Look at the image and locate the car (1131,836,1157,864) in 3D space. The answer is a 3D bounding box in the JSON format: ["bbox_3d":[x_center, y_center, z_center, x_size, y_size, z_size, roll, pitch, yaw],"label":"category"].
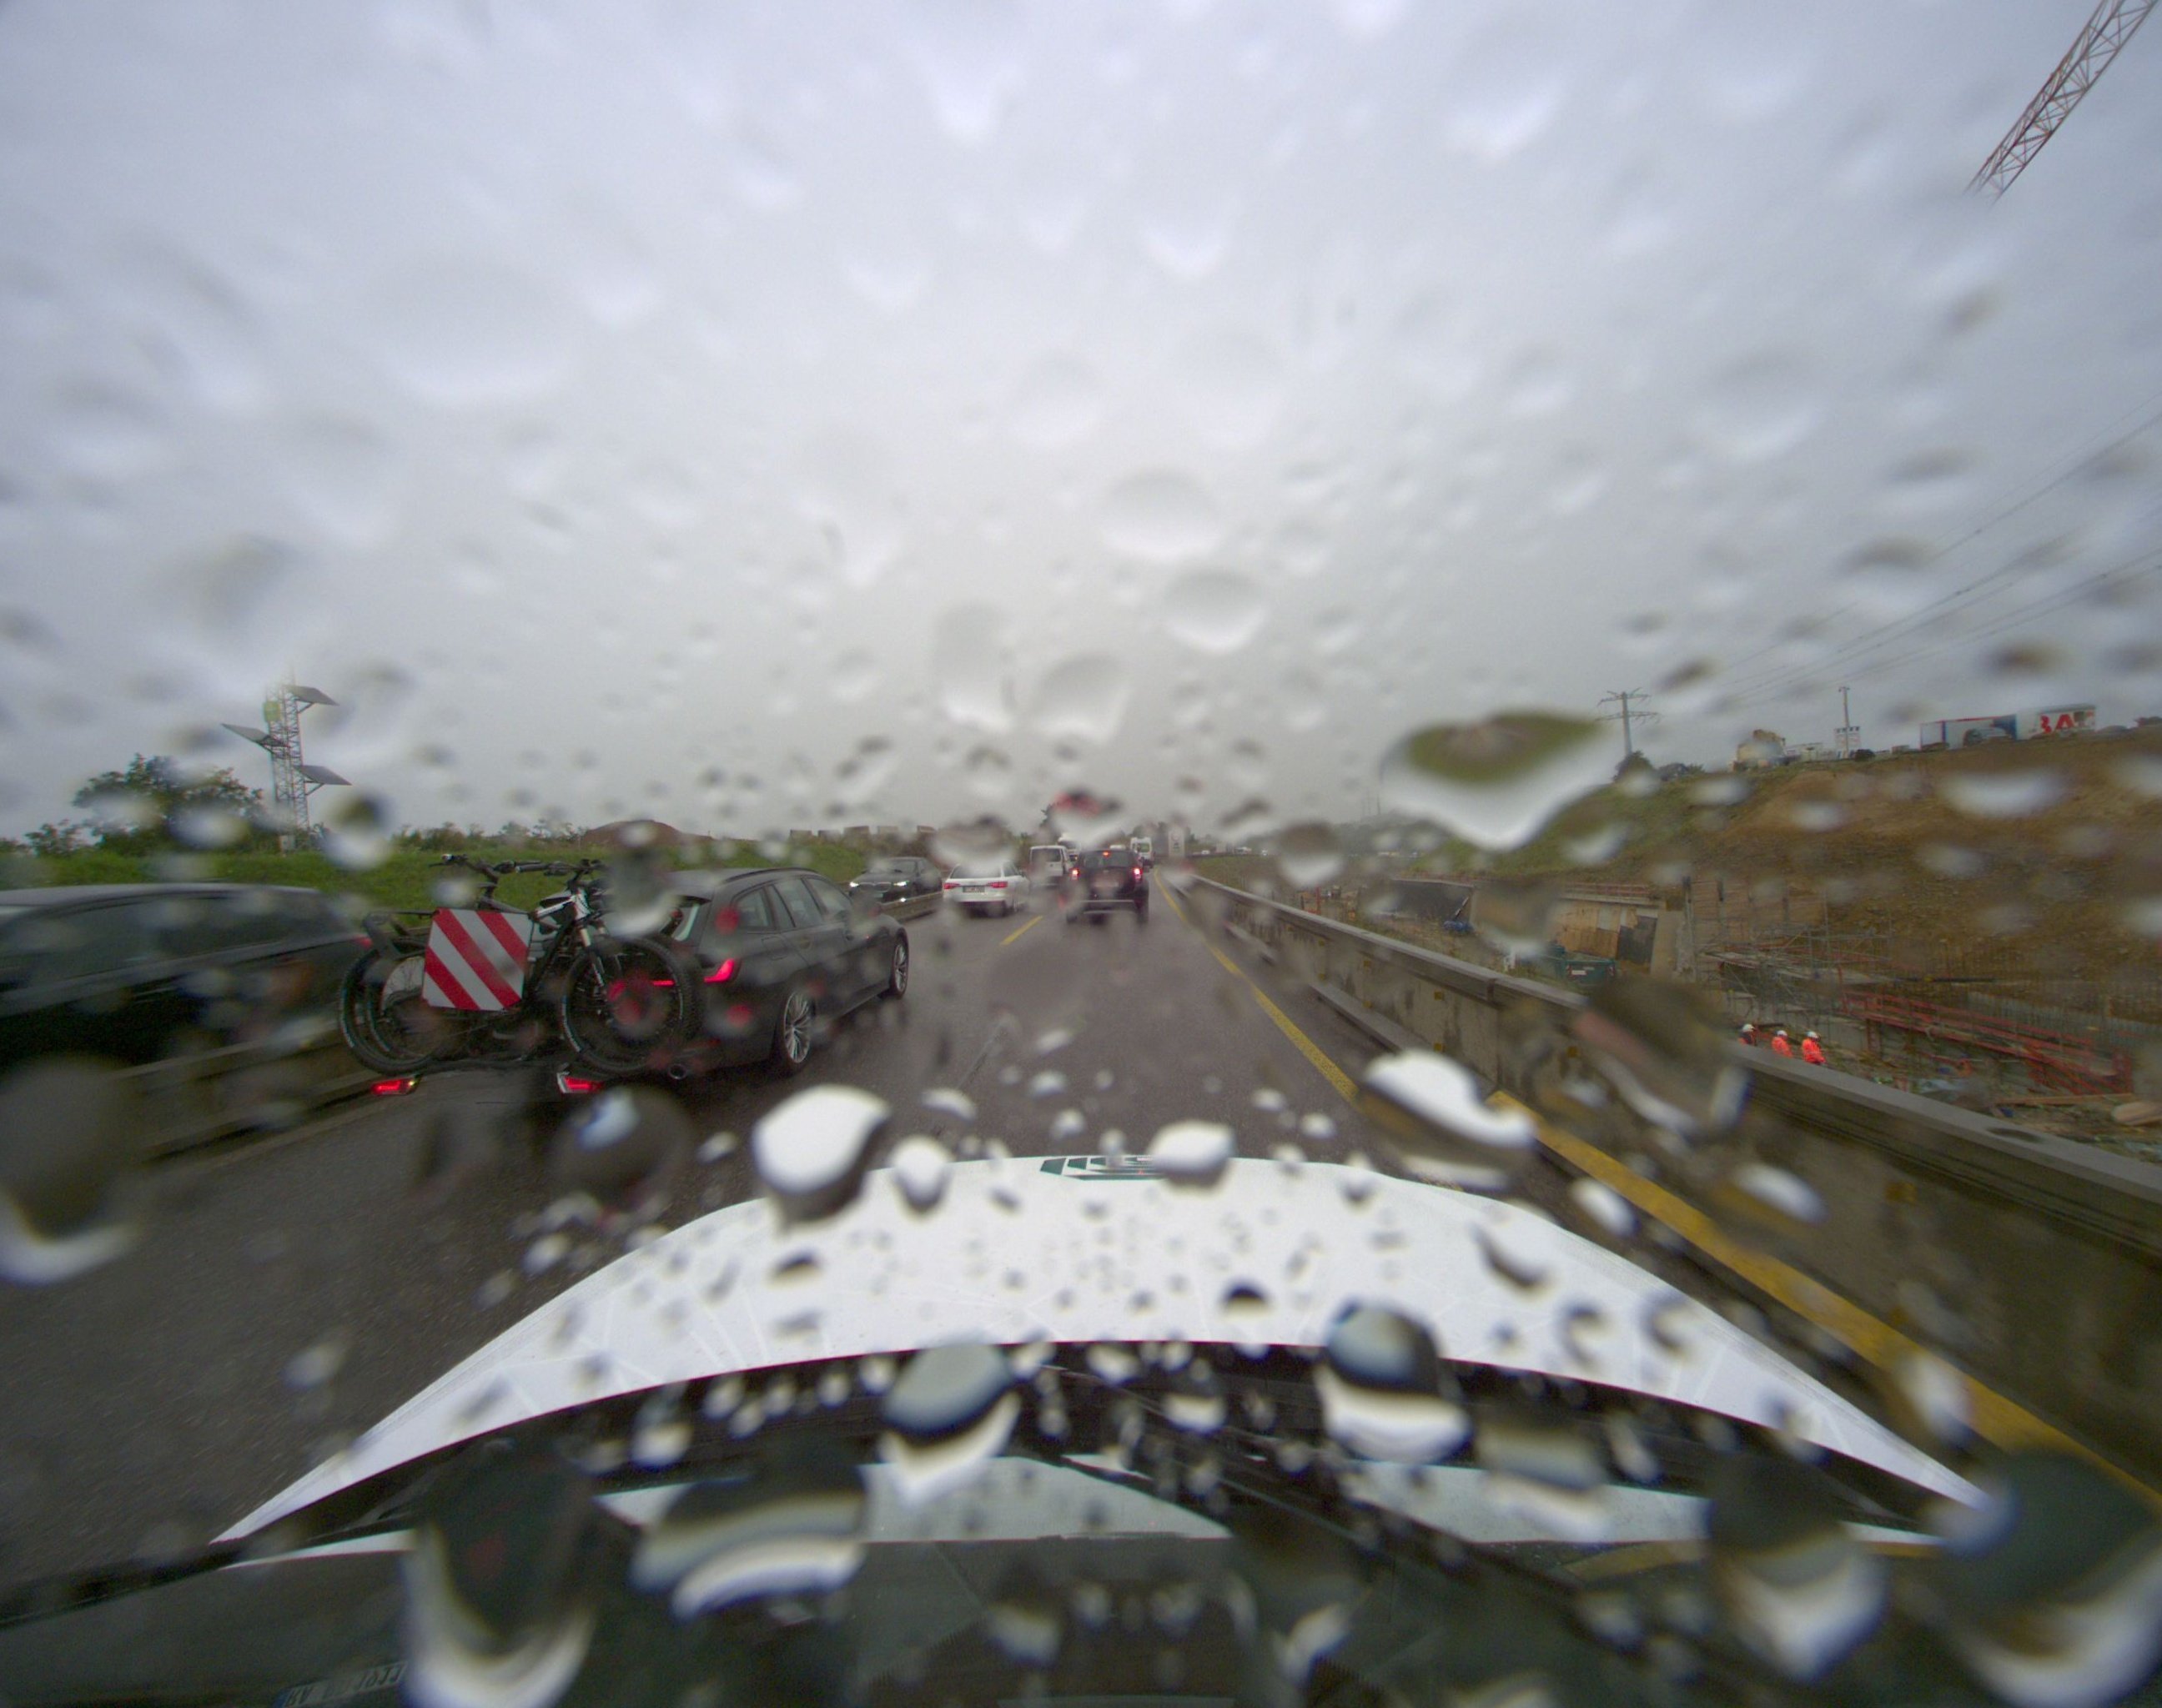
[{"bbox_3d":[5.777,-0.343,74.269,1.815,2.437,4.170,-1,-1,11],"label":"car"}]

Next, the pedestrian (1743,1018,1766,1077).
[{"bbox_3d":[24.115,6.912,29.164,0.568,1.869,0.740,-1,-1,39],"label":"pedestrian"}]

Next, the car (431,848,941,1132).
[{"bbox_3d":[-2.711,0.752,7.412,1.728,1.462,5.632,-1,2,2],"label":"car"}]

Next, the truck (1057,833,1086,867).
[{"bbox_3d":[-1.081,-0.504,98.277,2.774,4.034,5.830,-1,1,6],"label":"truck"}]

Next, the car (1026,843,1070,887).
[{"bbox_3d":[-1.421,0.486,36.271,1.821,1.815,3.998,-1,-1,-1],"label":"car"}]

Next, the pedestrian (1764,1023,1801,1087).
[{"bbox_3d":[23.814,6.802,27.646,0.576,1.944,0.729,0,-1,-25],"label":"pedestrian"}]

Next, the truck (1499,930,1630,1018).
[{"bbox_3d":[25.783,6.255,44.054,2.714,3.491,9.084,-1,-1,8],"label":"truck"}]

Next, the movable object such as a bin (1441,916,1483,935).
[{"bbox_3d":[42.918,8.062,91.826,2.007,2.014,3.801,3,-4,-33],"label":"movable object such as a bin"}]

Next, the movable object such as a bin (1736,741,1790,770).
[{"bbox_3d":[66.733,-9.592,79.749,2.413,2.443,3.981,-1,1,11],"label":"movable object such as a bin"}]

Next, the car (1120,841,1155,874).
[{"bbox_3d":[3.310,0.223,47.071,1.817,1.815,4.007,-1,-1,6],"label":"car"}]

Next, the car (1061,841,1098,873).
[{"bbox_3d":[-0.052,0.206,48.856,1.818,1.815,4.005,-1,-1,5],"label":"car"}]

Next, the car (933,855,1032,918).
[{"bbox_3d":[-2.477,0.801,21.513,1.818,1.499,4.005,-1,-1,5],"label":"car"}]

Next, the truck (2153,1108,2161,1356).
[{"bbox_3d":[16.126,5.318,7.011,2.685,3.503,8.964,-1,-1,7],"label":"truck"}]

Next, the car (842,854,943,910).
[{"bbox_3d":[-5.870,0.821,26.000,1.911,1.585,4.898,-1,0,2],"label":"car"}]

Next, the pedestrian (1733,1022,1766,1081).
[{"bbox_3d":[23.401,6.913,28.535,0.570,1.869,0.737,-1,-1,9],"label":"pedestrian"}]

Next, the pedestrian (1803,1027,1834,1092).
[{"bbox_3d":[24.457,6.789,27.011,0.726,1.944,0.579,-1,-1,41],"label":"pedestrian"}]

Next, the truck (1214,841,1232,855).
[{"bbox_3d":[38.548,-1.609,220.672,3.443,3.715,8.459,-2,0,19],"label":"truck"}]

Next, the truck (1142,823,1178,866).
[{"bbox_3d":[10.023,-1.089,102.749,3.521,5.077,10.472,-1,-1,11],"label":"truck"}]

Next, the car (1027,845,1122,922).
[{"bbox_3d":[-0.033,0.631,18.806,1.818,1.591,4.005,-1,-1,5],"label":"car"}]

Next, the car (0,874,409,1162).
[{"bbox_3d":[-6.597,0.921,5.041,1.659,1.466,3.734,-1,0,2],"label":"car"}]

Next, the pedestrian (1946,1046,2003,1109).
[{"bbox_3d":[34.153,8.530,31.139,0.892,1.999,0.907,9,0,6],"label":"pedestrian"}]
